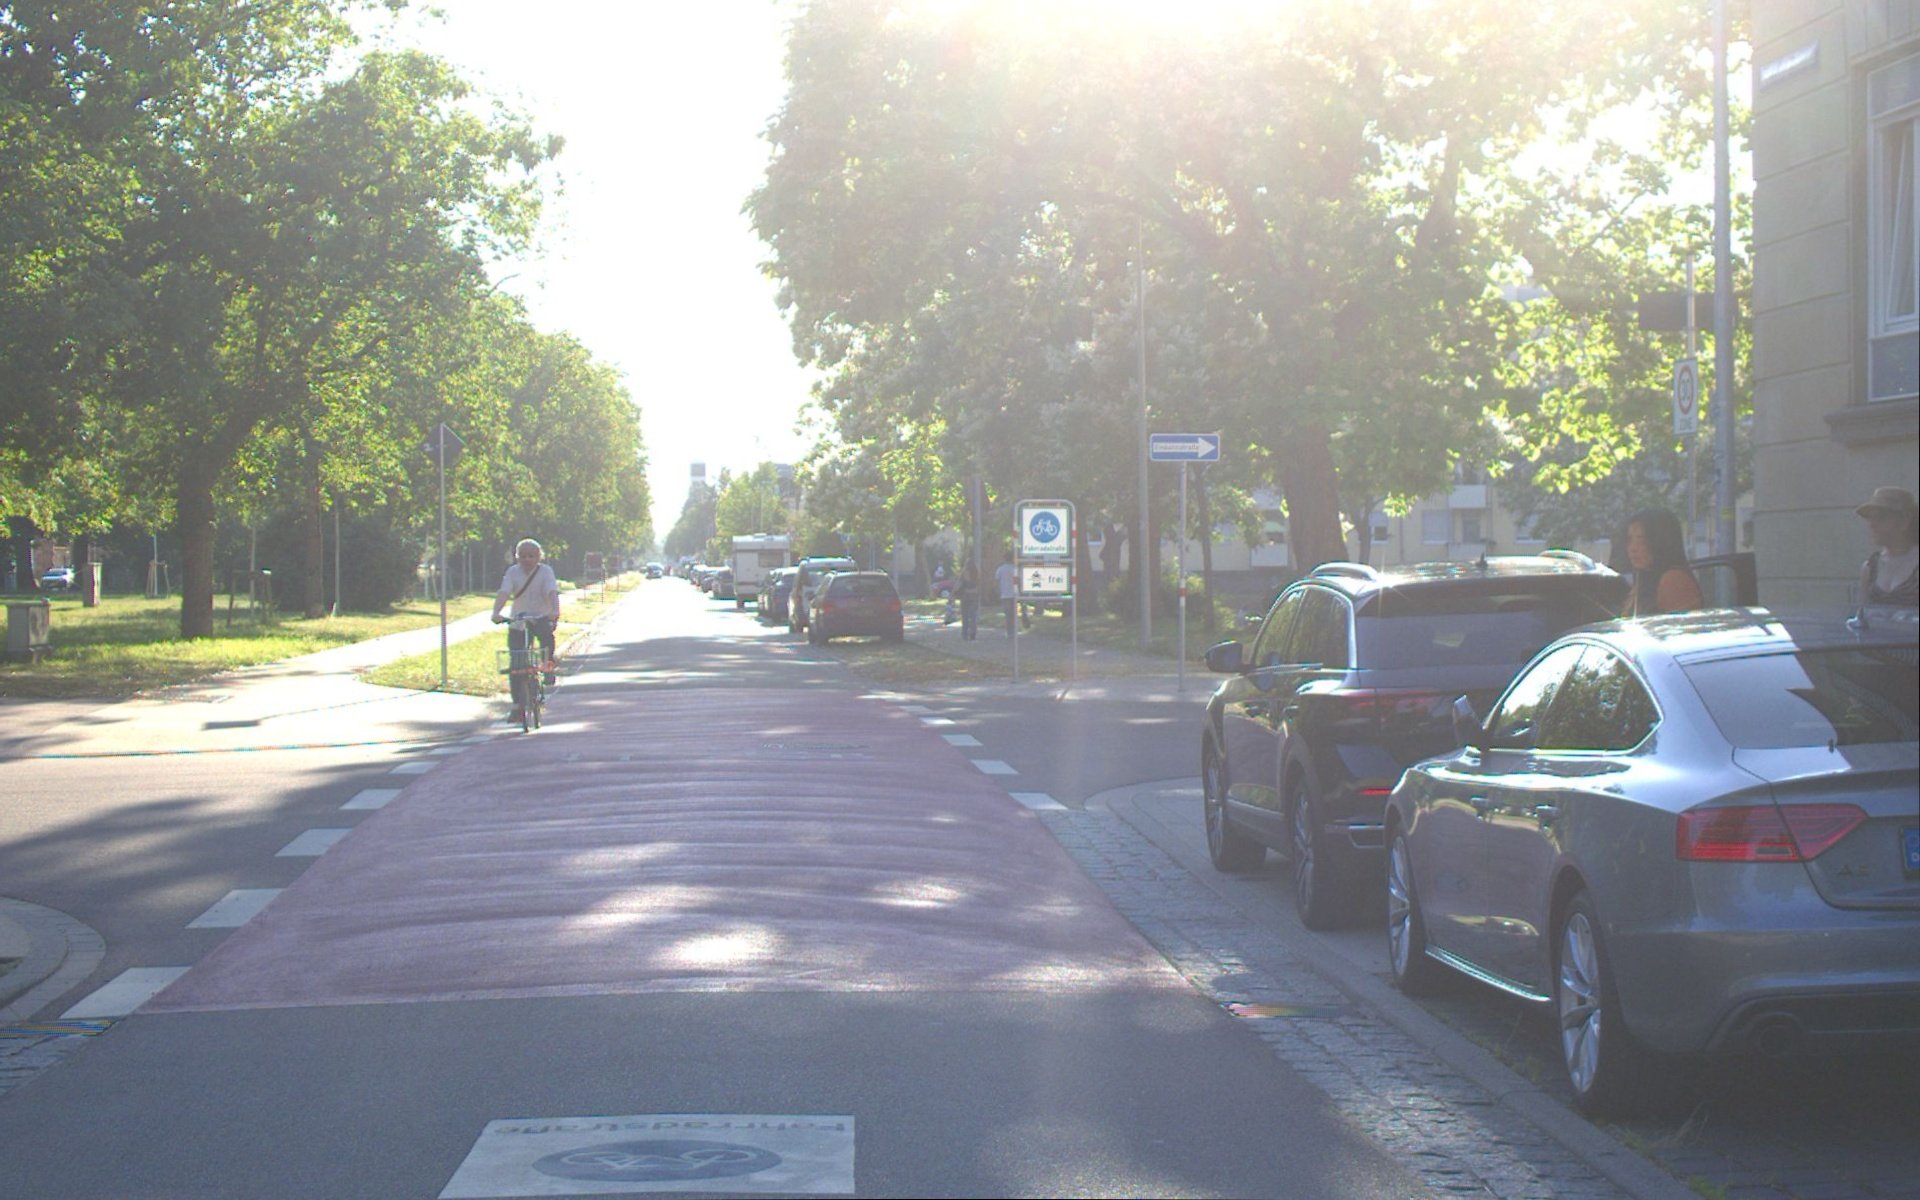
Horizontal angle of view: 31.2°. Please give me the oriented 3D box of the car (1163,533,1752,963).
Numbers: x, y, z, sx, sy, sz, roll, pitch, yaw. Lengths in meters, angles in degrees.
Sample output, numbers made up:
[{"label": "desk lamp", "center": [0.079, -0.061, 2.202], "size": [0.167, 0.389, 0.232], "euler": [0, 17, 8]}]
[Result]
[{"label": "car", "center": [2.126, 0.545, 15.928], "size": [1.703, 1.620, 4.349], "euler": [-2, 2, -5]}]

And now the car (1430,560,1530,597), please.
[{"label": "car", "center": [22.360, -0.905, 147.912], "size": [3.991, 1.547, 1.608], "euler": [0, 0, 23]}]

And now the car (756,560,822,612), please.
[{"label": "car", "center": [-5.243, -0.441, 105.022], "size": [1.731, 1.545, 4.423], "euler": [0, 0, -6]}]

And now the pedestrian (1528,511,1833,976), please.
[{"label": "pedestrian", "center": [2.803, 0.543, 13.451], "size": [0.952, 1.763, 0.779], "euler": [1, 1, -6]}]

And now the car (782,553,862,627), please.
[{"label": "car", "center": [-3.379, -0.246, 83.425], "size": [1.678, 1.734, 4.515], "euler": [0, 0, -5]}]

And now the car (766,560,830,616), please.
[{"label": "car", "center": [-4.662, -0.352, 98.795], "size": [1.731, 1.545, 4.276], "euler": [0, 0, -4]}]

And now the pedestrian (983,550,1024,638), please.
[{"label": "pedestrian", "center": [0.860, -0.120, 68.239], "size": [0.725, 1.730, 0.732], "euler": [1, 1, -4]}]

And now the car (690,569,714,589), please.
[{"label": "car", "center": [-18.176, -1.470, 242.045], "size": [1.626, 1.405, 4.250], "euler": [0, 0, -5]}]

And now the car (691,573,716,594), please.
[{"label": "car", "center": [-17.230, -1.097, 230.680], "size": [1.626, 1.405, 4.250], "euler": [0, 0, -5]}]

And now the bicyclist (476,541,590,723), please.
[{"label": "bicyclist", "center": [-4.051, 0.291, 32.648], "size": [0.937, 1.697, 0.905], "euler": [0, 0, 2]}]

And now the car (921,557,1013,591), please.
[{"label": "car", "center": [0.316, -1.190, 158.807], "size": [4.195, 1.525, 2.000], "euler": [0, 0, -1]}]

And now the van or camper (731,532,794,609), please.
[{"label": "van or camper", "center": [-7.846, -1.139, 136.159], "size": [2.233, 2.894, 5.673], "euler": [0, -1, -5]}]

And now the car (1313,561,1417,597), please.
[{"label": "car", "center": [18.395, -0.946, 156.118], "size": [4.514, 1.564, 1.879], "euler": [0, 0, 14]}]

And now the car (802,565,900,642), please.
[{"label": "car", "center": [-2.232, 0.058, 69.531], "size": [1.678, 1.481, 4.810], "euler": [0, 0, -5]}]

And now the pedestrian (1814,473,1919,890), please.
[{"label": "pedestrian", "center": [4.313, 0.352, 15.489], "size": [0.729, 1.824, 0.556], "euler": [0, 1, -41]}]

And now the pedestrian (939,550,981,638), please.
[{"label": "pedestrian", "center": [0.005, -0.124, 68.187], "size": [0.753, 1.730, 0.732], "euler": [1, 1, -4]}]

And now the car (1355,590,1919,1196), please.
[{"label": "car", "center": [2.433, 0.712, 10.641], "size": [1.703, 1.415, 4.349], "euler": [-2, 0, -2]}]

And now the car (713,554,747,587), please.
[{"label": "car", "center": [-11.872, -1.519, 177.328], "size": [1.626, 1.663, 4.250], "euler": [0, 0, -5]}]

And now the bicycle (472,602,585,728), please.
[{"label": "bicycle", "center": [-4.064, 0.595, 32.499], "size": [0.738, 1.131, 2.104], "euler": [0, 1, 2]}]

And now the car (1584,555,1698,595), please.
[{"label": "car", "center": [29.927, -1.095, 151.068], "size": [4.519, 1.740, 1.877], "euler": [0, 0, 30]}]

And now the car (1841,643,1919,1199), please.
[{"label": "car", "center": [2.905, 0.775, 5.354], "size": [1.703, 1.415, 4.036], "euler": [-2, 0, -4]}]
